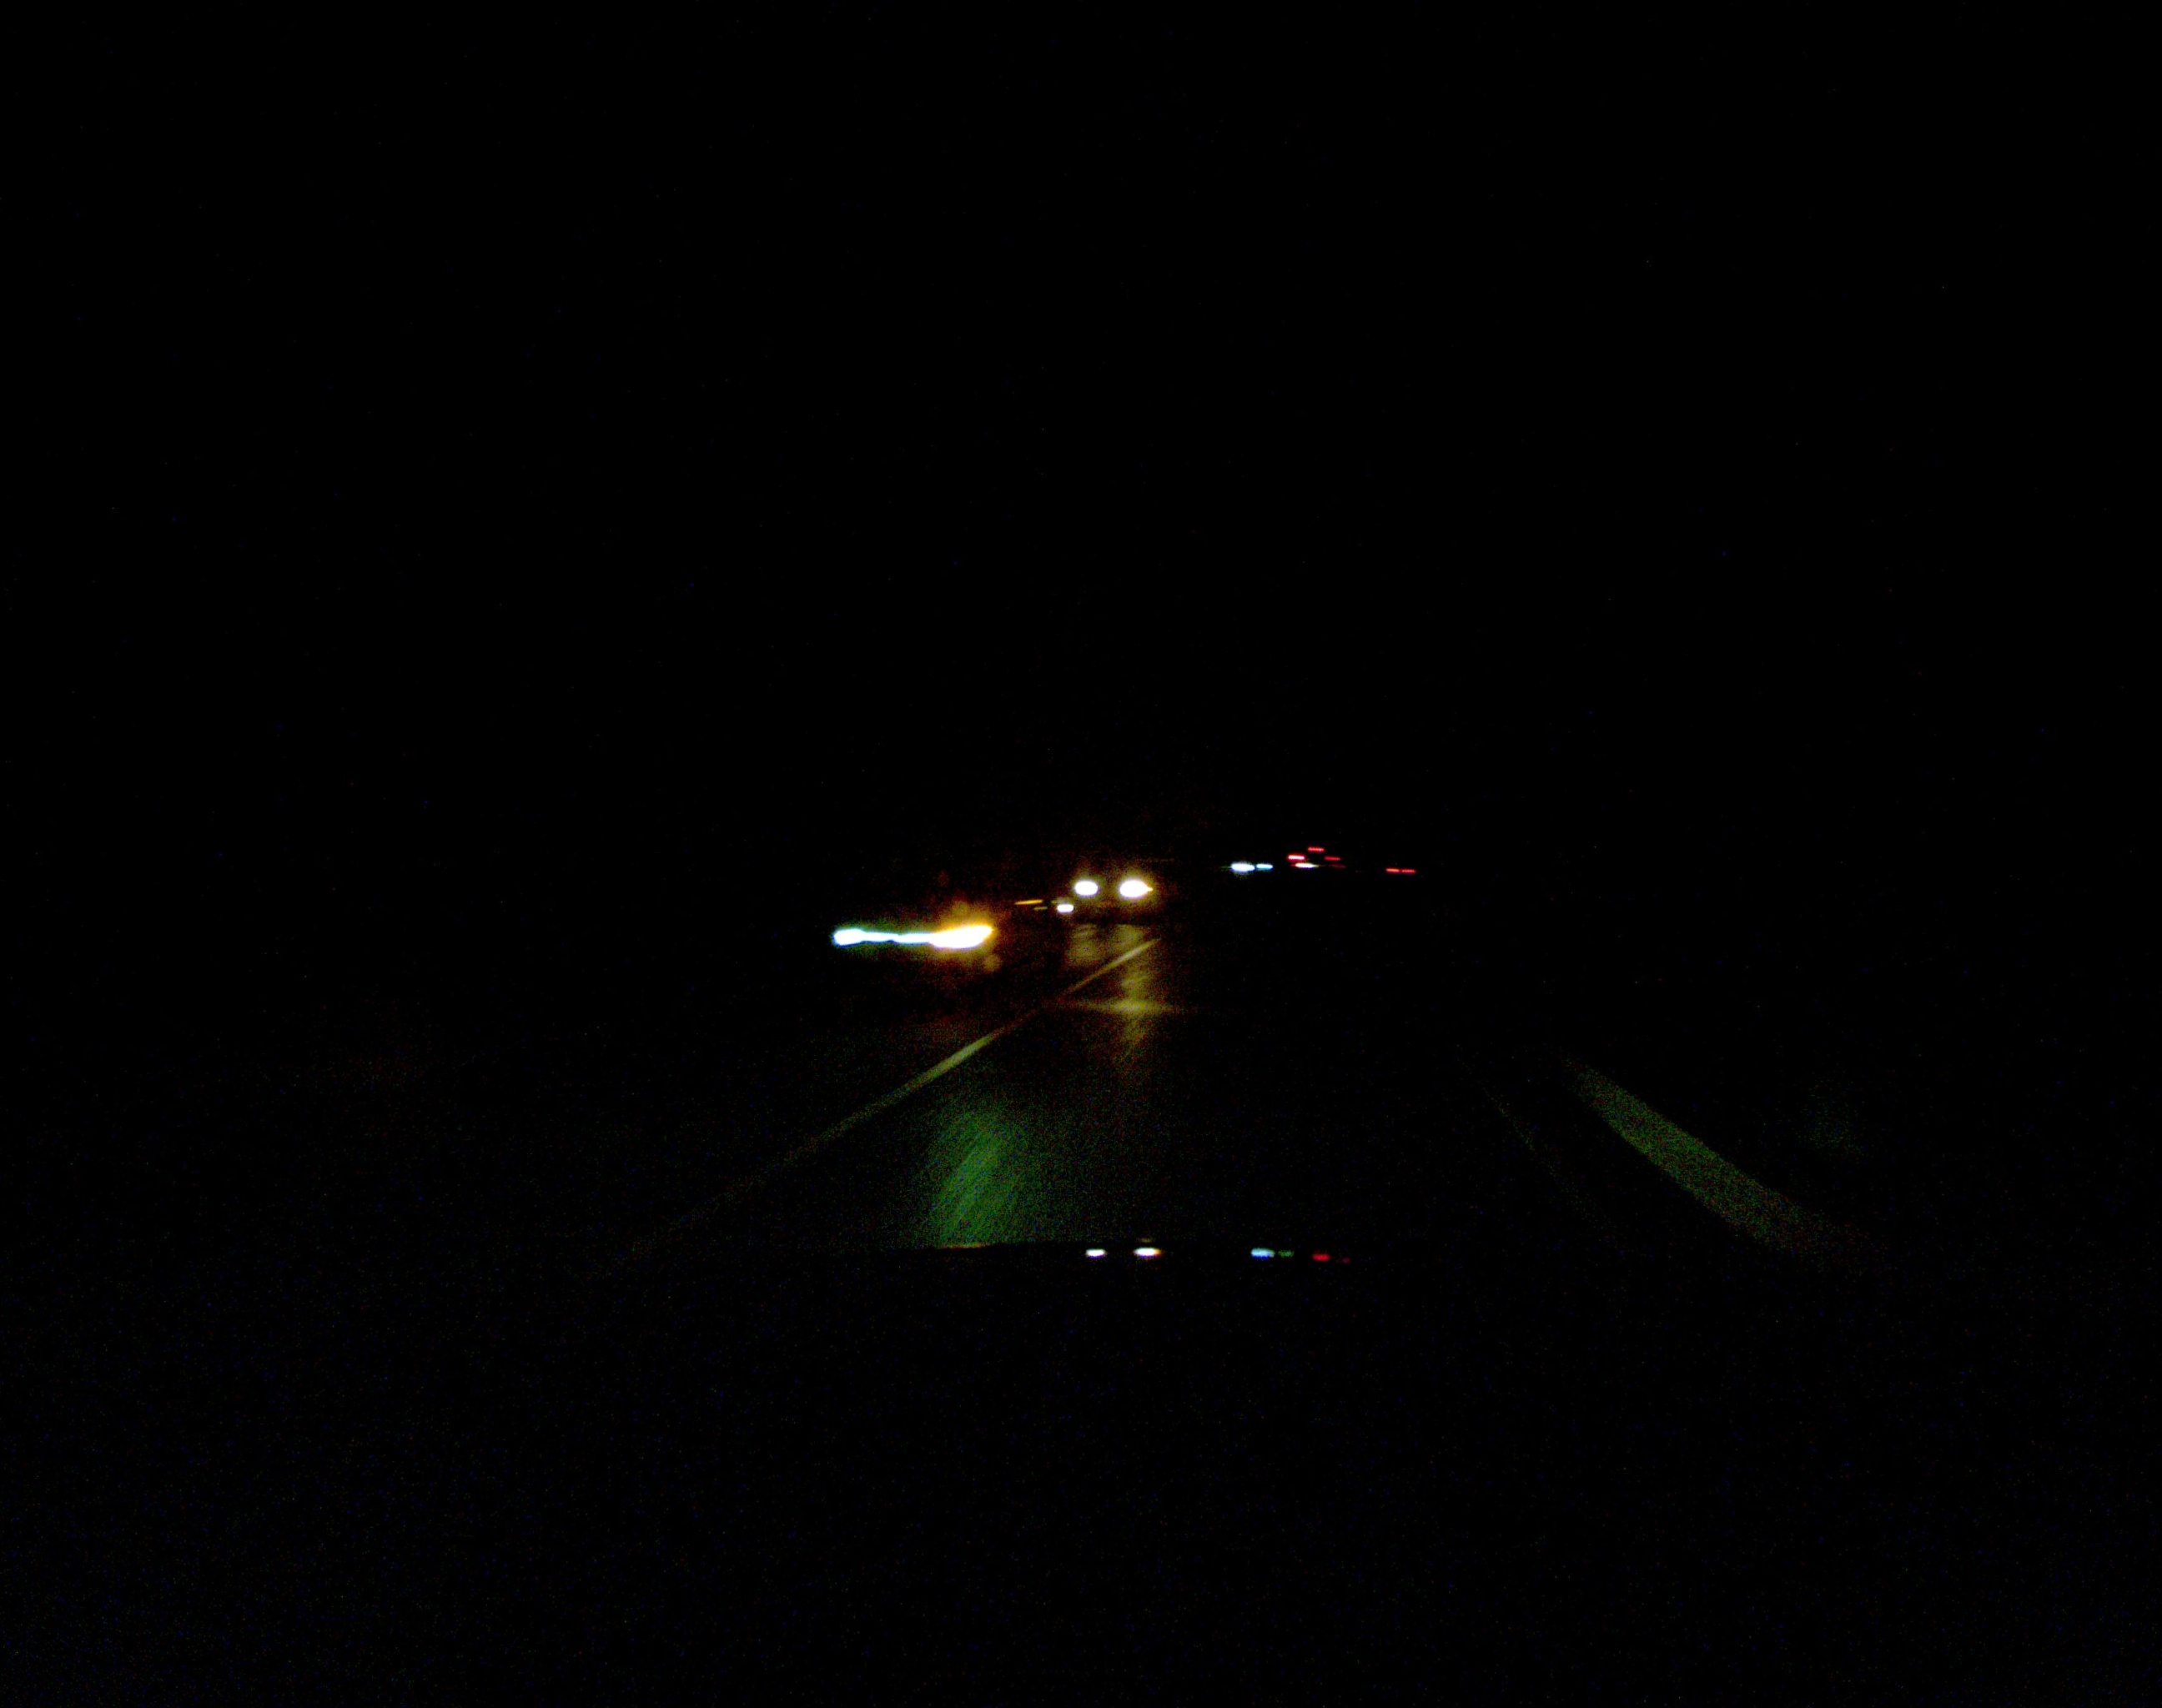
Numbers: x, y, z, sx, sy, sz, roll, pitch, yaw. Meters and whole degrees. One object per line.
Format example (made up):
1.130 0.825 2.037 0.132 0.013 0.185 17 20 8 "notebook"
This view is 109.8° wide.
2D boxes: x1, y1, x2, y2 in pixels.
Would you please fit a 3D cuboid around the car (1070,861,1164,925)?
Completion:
1.003 0.919 19.288 1.655 1.442 3.494 0 0 15 "car"

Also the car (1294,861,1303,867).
54.958 2.452 191.805 1.929 1.510 4.005 1 0 14 "car"

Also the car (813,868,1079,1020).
-1.428 0.935 9.815 1.760 1.451 4.197 0 0 15 "car"

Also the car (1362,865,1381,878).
37.427 2.200 97.870 1.956 1.478 4.705 3 1 18 "car"

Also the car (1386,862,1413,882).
26.404 1.497 63.096 1.547 1.511 3.520 3 1 15 "car"

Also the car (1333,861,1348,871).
45.560 2.164 133.651 2.124 1.621 4.704 1 0 15 "car"
